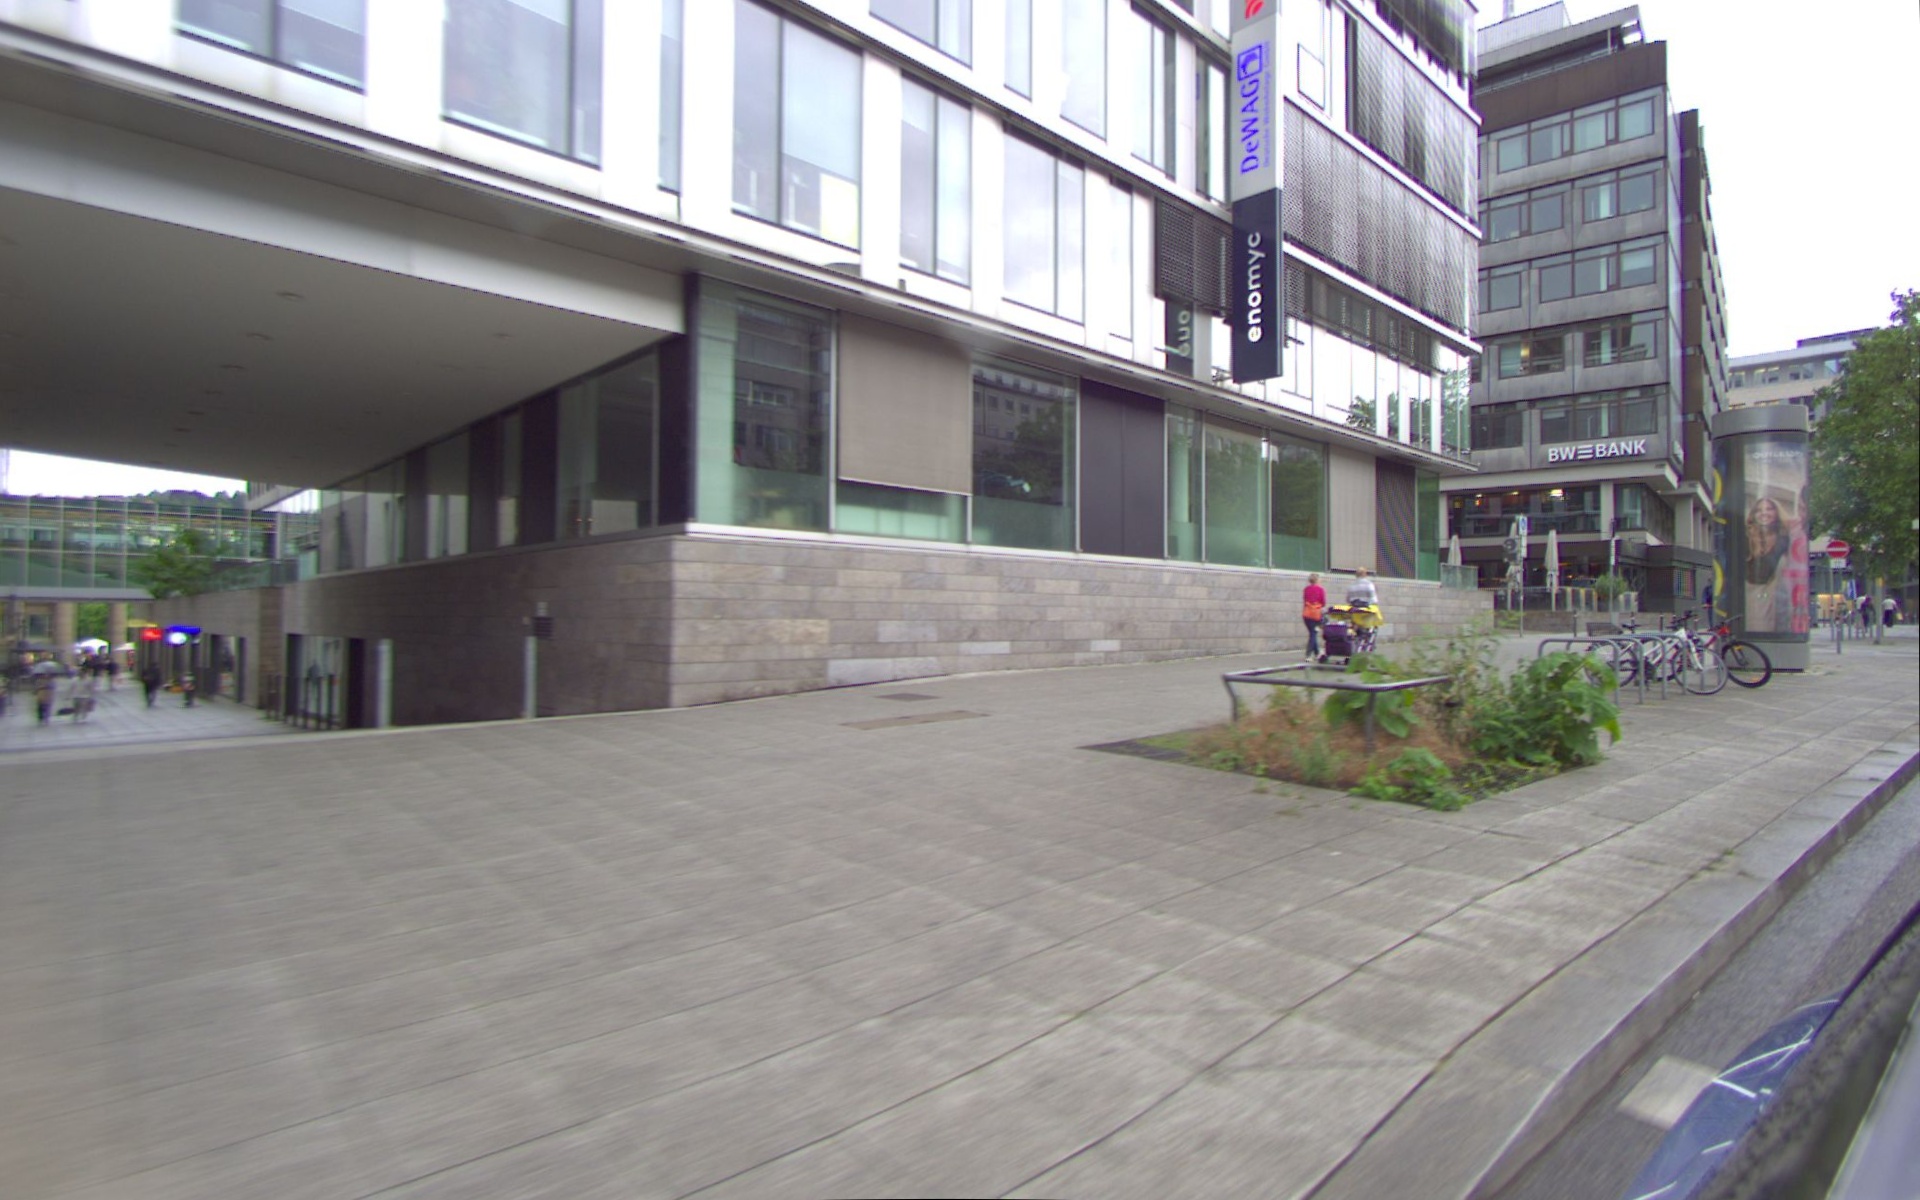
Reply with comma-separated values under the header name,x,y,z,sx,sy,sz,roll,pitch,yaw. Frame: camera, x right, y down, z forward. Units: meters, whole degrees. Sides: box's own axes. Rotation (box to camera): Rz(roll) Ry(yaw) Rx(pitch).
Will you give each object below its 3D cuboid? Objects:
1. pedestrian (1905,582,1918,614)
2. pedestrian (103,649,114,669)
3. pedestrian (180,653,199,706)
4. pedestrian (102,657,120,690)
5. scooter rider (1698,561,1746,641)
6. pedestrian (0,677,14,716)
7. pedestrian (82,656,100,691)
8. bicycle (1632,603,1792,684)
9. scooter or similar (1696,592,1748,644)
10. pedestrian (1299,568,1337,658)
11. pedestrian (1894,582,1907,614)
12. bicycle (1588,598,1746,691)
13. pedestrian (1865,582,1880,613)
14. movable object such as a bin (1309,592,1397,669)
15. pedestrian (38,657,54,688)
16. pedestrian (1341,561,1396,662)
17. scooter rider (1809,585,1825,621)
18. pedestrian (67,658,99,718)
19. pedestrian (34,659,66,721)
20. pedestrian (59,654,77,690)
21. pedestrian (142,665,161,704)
name,x,y,z,sx,sy,sz,roll,pitch,yaw
pedestrian,51.851,-0.120,55.138,0.488,1.723,0.451,-1,0,-41
pedestrian,-73.144,5.101,86.955,0.647,1.683,0.640,-4,-3,41
pedestrian,-28.570,2.932,37.522,0.556,1.940,0.661,0,-3,-39
pedestrian,-46.645,4.035,55.601,0.590,1.799,0.690,-4,-3,44
scooter rider,19.879,0.022,26.399,0.907,2.047,0.779,0,0,-39
pedestrian,-31.749,3.197,33.549,0.461,1.260,0.558,-4,-3,44
pedestrian,-47.168,3.980,54.902,0.590,1.848,0.690,-4,-3,44
bicycle,11.521,0.632,15.555,0.658,1.124,1.874,0,1,-41
scooter or similar,19.885,0.453,26.395,1.311,1.322,0.779,0,0,-39
pedestrian,6.994,0.240,19.783,0.570,1.720,0.484,0,1,-44
pedestrian,51.558,-0.121,55.497,0.488,1.723,0.451,-1,0,-41
bicycle,10.062,0.593,14.445,1.790,1.222,0.659,1,0,42
pedestrian,50.901,-0.126,56.428,0.537,1.723,0.551,-1,0,-41
movable object such as a bin,6.986,0.501,17.963,1.758,1.281,0.803,-1,1,-44
pedestrian,-55.028,4.353,60.951,0.590,1.799,0.690,-4,-3,44
pedestrian,7.692,0.206,19.058,0.734,1.853,0.722,0,1,-44
scooter rider,49.160,0.163,58.038,0.840,2.051,0.626,0,-1,-44
pedestrian,-27.121,2.701,31.301,0.590,1.799,0.690,-4,-3,44
pedestrian,-27.595,2.714,30.687,0.590,1.799,0.690,-4,-3,44
pedestrian,-47.883,3.852,54.344,0.590,1.848,0.690,-4,-3,44
pedestrian,-30.640,3.206,38.360,0.556,1.435,0.462,0,-3,-39
